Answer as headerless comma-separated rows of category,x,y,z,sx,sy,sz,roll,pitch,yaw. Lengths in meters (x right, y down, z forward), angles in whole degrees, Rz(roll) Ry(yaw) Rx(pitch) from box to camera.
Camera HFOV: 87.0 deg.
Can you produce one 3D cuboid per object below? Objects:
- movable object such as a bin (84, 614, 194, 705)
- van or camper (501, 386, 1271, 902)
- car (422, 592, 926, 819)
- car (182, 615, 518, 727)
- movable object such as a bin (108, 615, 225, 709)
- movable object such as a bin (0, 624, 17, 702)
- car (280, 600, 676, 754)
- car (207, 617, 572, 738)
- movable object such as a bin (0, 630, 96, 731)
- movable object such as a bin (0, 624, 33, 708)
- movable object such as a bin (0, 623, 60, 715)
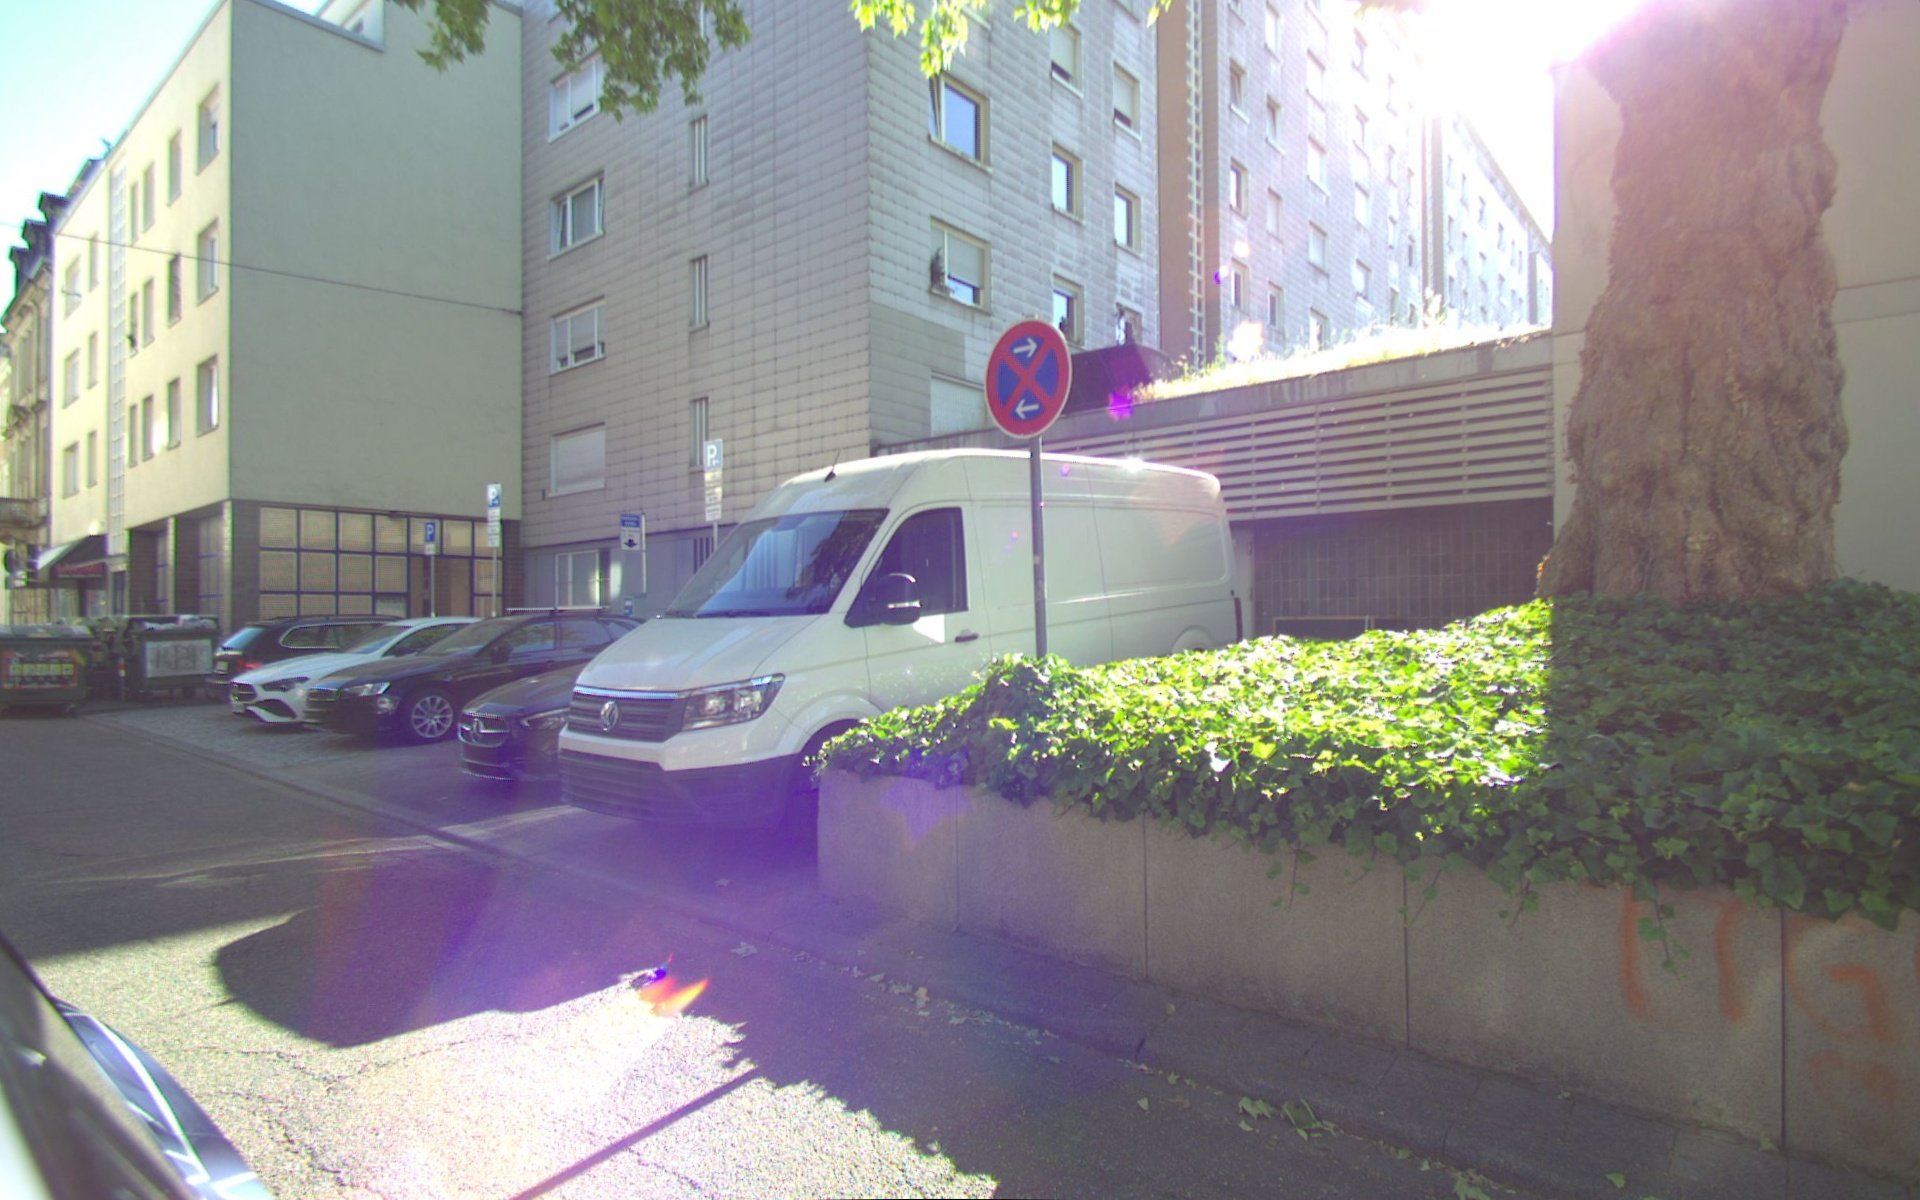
movable object such as a bin,-14.543,1.020,17.931,1.515,1.512,1.207,-2,-2,38
van or camper,0.134,0.101,8.339,1.999,2.593,6.835,-2,1,41
car,-2.404,0.765,9.520,1.697,1.545,4.361,-2,0,39
car,-9.638,1.037,16.352,1.694,1.545,4.367,-2,-2,34
movable object such as a bin,-13.401,1.010,17.109,1.193,1.512,1.312,-2,-2,38
movable object such as a bin,-19.356,1.232,19.729,1.558,1.512,1.207,-2,-2,38
car,-5.947,0.857,13.036,1.694,1.629,4.367,-2,-2,34
car,-8.004,1.001,14.639,1.595,1.474,4.367,-2,-2,34
movable object such as a bin,-14.830,1.253,16.162,1.875,1.512,1.225,-2,-4,40
movable object such as a bin,-18.112,1.208,18.696,1.558,1.512,1.207,-2,-2,38
movable object such as a bin,-16.501,1.165,17.389,1.923,1.512,1.231,-2,-2,38
